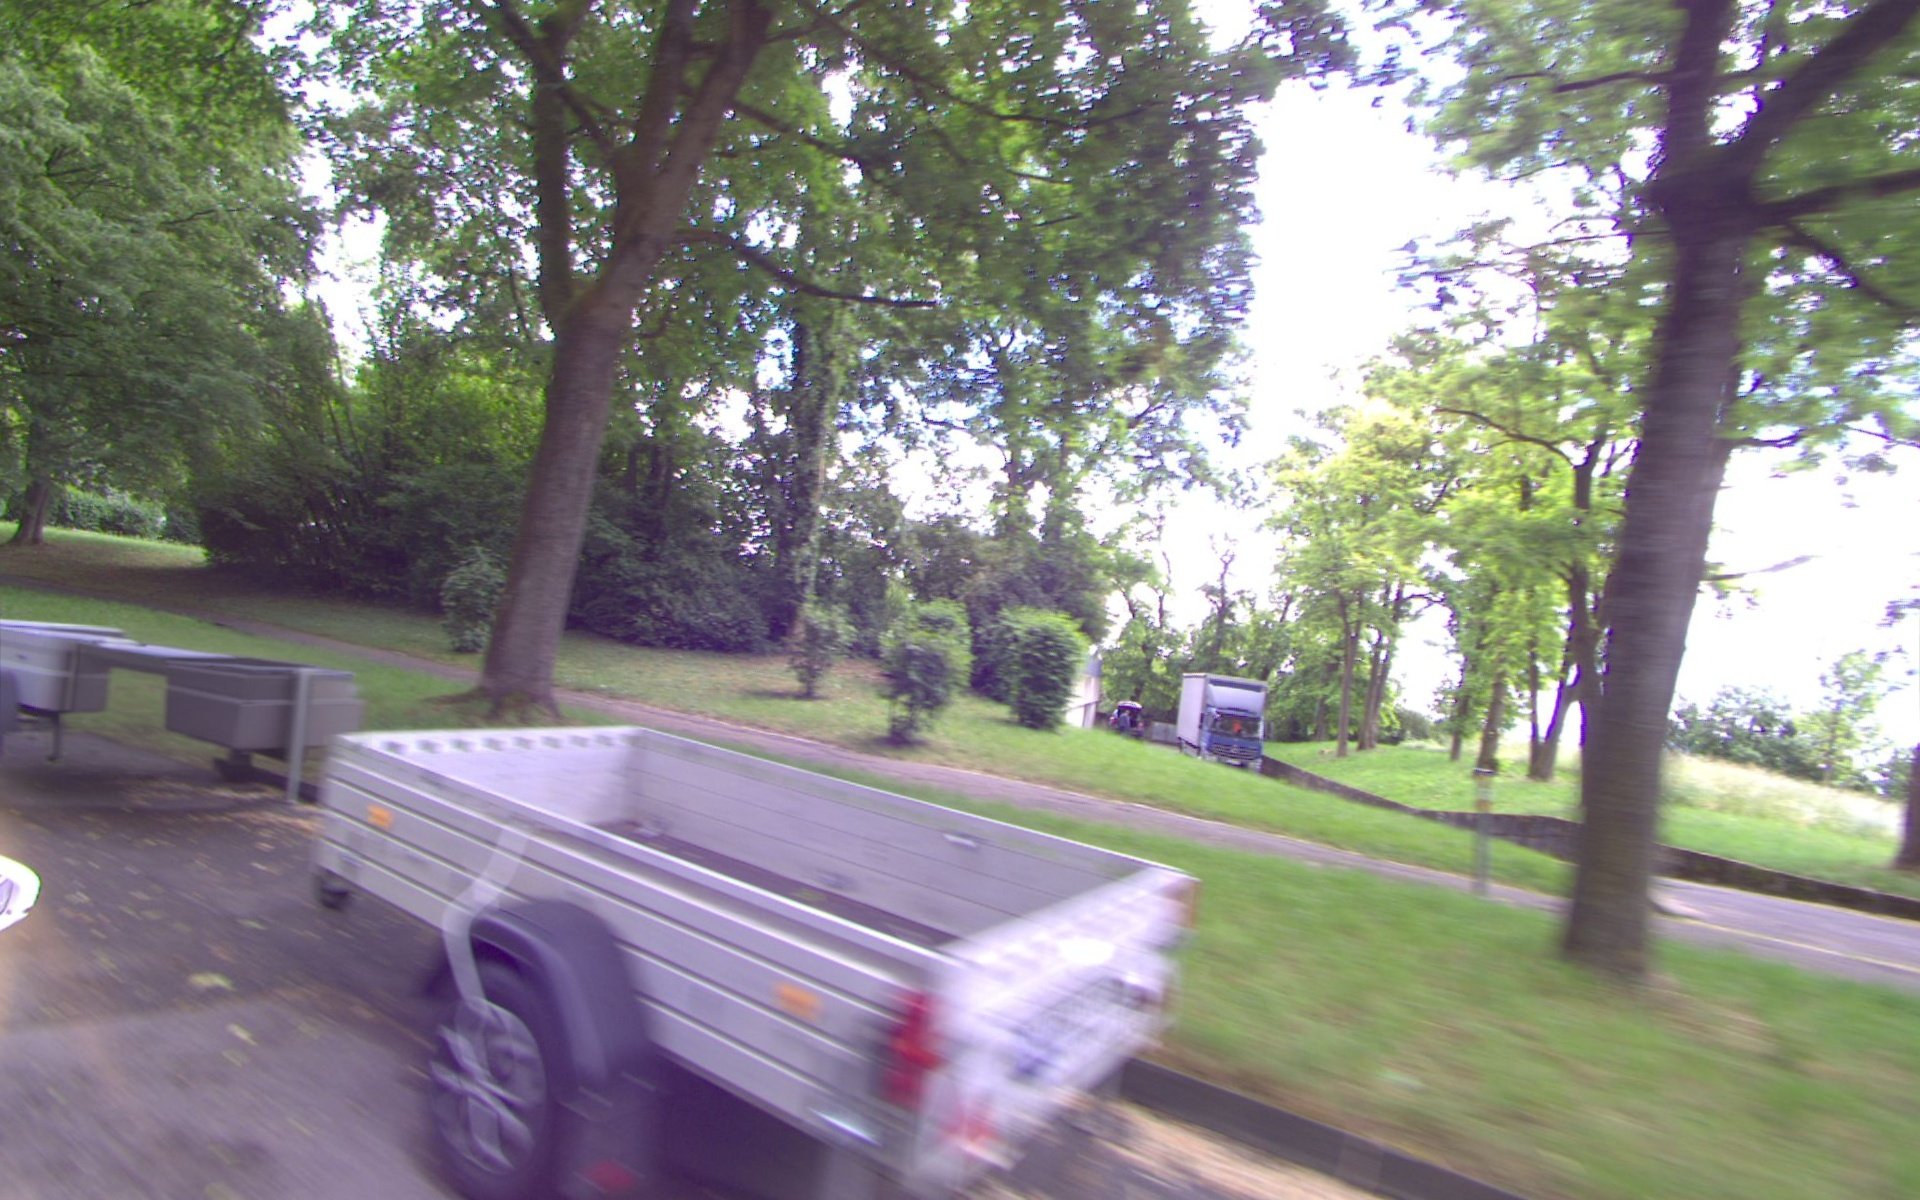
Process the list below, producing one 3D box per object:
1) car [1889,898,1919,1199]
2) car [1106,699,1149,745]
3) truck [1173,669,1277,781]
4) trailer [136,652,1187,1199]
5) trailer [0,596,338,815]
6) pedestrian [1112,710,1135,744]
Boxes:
[{"bbox_3d":[3.777,1.187,0.354,4.762,1.681,1.779,6,-3,33],"label":"car"},{"bbox_3d":[9.209,6.697,55.595,1.962,2.037,4.005,7,-2,8],"label":"car"},{"bbox_3d":[11.353,5.261,43.988,2.646,4.039,9.592,7,-4,7],"label":"truck"},{"bbox_3d":[-1.319,0.980,3.548,3.830,0.979,1.360,7,-3,34],"label":"trailer"},{"bbox_3d":[-5.351,0.503,5.954,3.223,0.857,1.368,5,-4,29],"label":"trailer"},{"bbox_3d":[8.645,6.698,53.218,0.947,1.631,0.703,9,-2,8],"label":"pedestrian"}]
